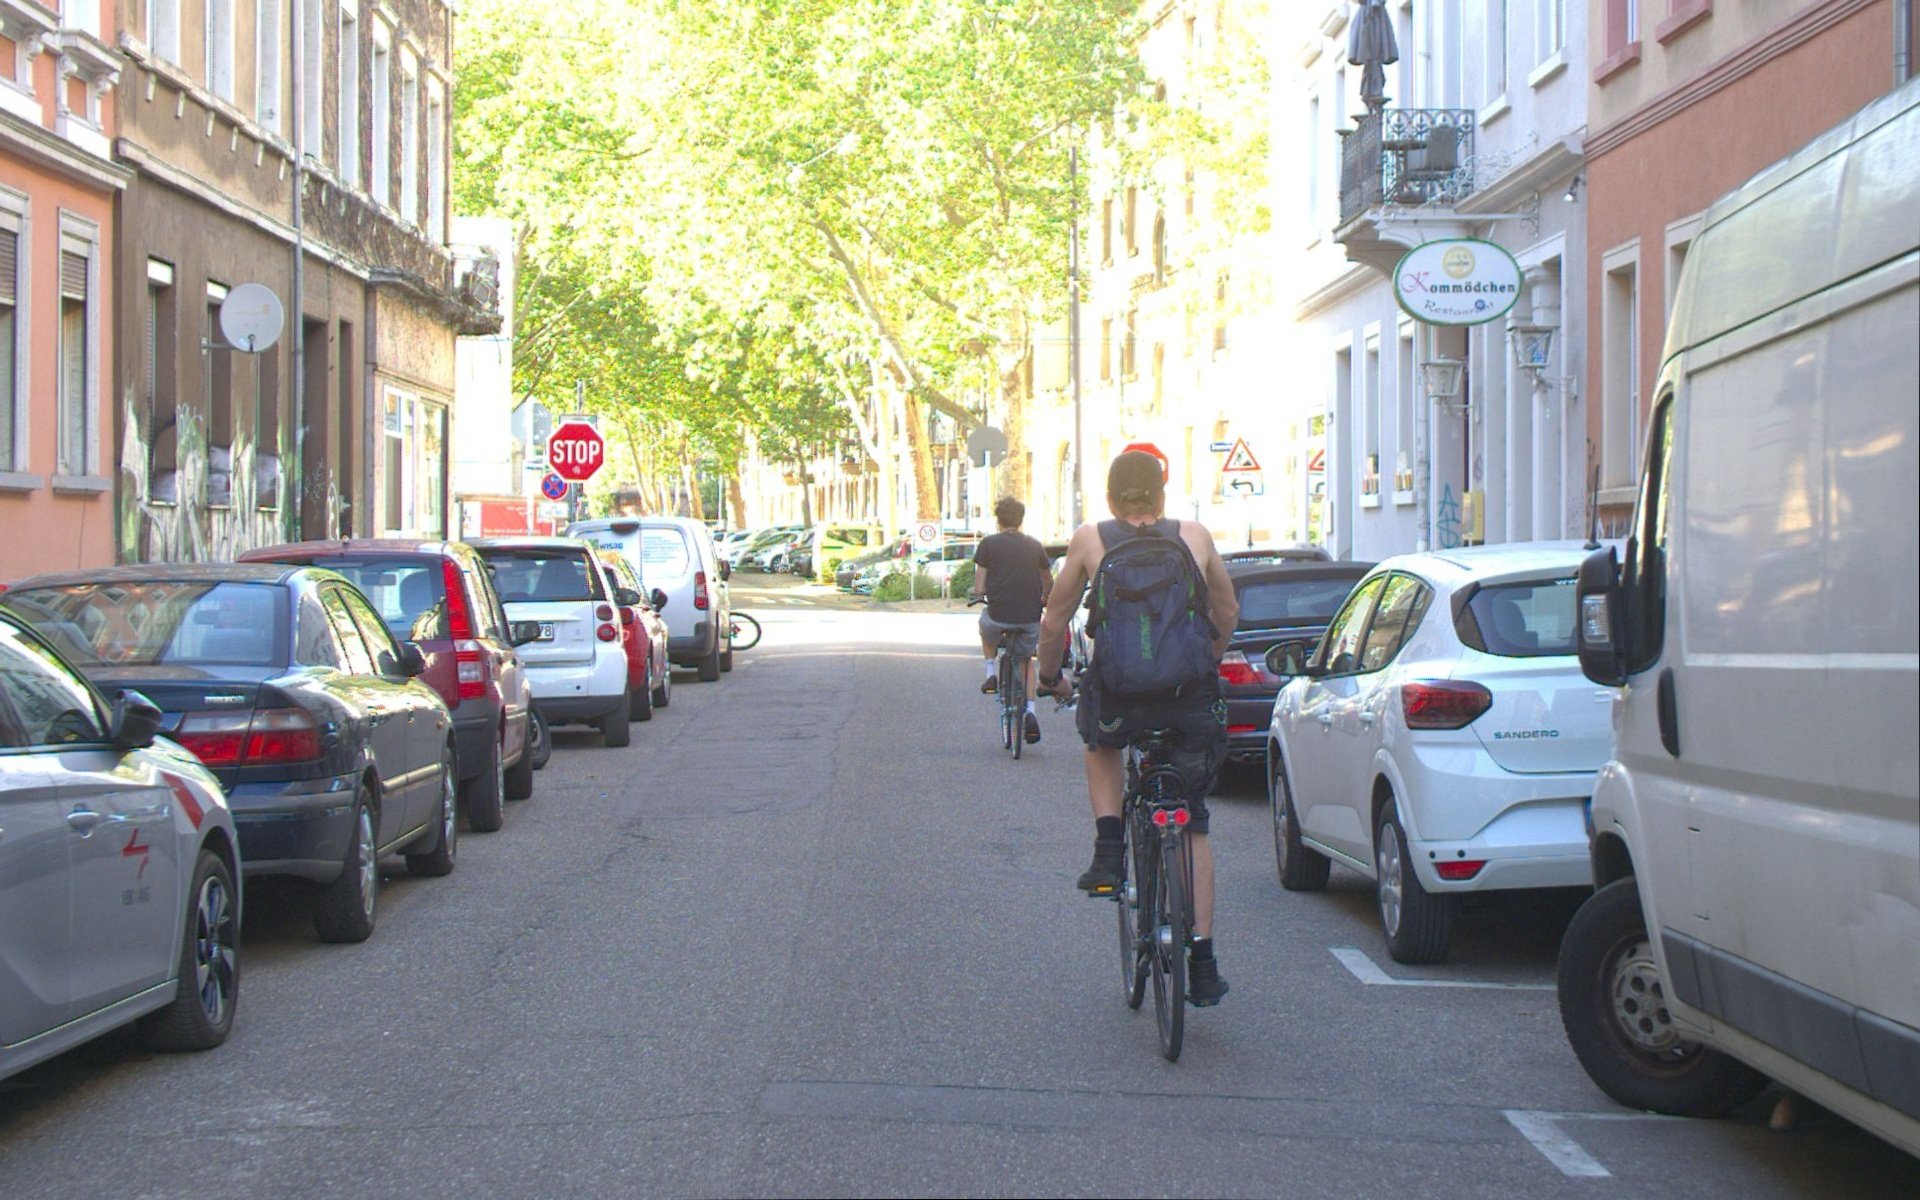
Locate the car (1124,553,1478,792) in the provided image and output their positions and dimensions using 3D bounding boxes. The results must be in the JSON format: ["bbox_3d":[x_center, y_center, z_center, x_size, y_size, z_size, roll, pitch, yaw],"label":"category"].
[{"bbox_3d":[2.058,0.390,21.770,1.657,1.334,4.001,0,1,-3],"label":"car"}]

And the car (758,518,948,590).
[{"bbox_3d":[-2.590,-1.110,82.878,4.468,1.690,1.867,0,1,-5],"label":"car"}]

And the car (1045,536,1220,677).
[{"bbox_3d":[1.930,0.039,39.313,1.652,1.525,3.575,0,1,-3],"label":"car"}]

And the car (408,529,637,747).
[{"bbox_3d":[-3.289,0.234,26.317,1.544,1.545,3.466,0,1,-4],"label":"car"}]

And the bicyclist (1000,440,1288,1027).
[{"bbox_3d":[0.538,0.377,10.481,0.740,1.673,1.117,2,1,-1],"label":"bicyclist"}]

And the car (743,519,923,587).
[{"bbox_3d":[-3.246,-1.203,87.365,4.468,1.690,1.867,0,1,-5],"label":"car"}]

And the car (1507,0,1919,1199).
[{"bbox_3d":[2.721,0.126,7.436,2.204,2.542,6.036,0,1,1],"label":"car"}]

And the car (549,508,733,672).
[{"bbox_3d":[-3.522,-0.144,38.514,1.787,1.731,3.876,0,1,-1],"label":"car"}]

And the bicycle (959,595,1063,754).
[{"bbox_3d":[0.344,0.501,24.142,0.664,1.034,1.959,0,1,-1],"label":"bicycle"}]

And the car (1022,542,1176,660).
[{"bbox_3d":[1.780,-0.019,44.887,1.686,1.466,3.575,0,1,-3],"label":"car"}]

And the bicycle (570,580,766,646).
[{"bbox_3d":[-4.081,0.179,48.118,2.715,0.889,0.619,0,1,-3],"label":"bicycle"}]

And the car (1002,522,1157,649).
[{"bbox_3d":[1.699,-0.245,50.215,1.893,1.763,4.001,0,1,-3],"label":"car"}]

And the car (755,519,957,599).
[{"bbox_3d":[-2.385,-0.936,77.893,4.468,1.753,1.867,0,1,-5],"label":"car"}]

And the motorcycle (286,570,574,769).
[{"bbox_3d":[-3.482,0.440,22.566,1.795,1.251,0.710,-1,1,-15],"label":"motorcycle"}]

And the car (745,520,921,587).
[{"bbox_3d":[-3.333,-1.214,89.673,4.468,1.690,1.867,0,1,-5],"label":"car"}]

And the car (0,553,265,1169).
[{"bbox_3d":[-3.075,0.608,8.926,1.674,1.425,3.888,0,1,1],"label":"car"}]

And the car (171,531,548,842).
[{"bbox_3d":[-3.216,0.398,18.943,1.604,1.525,3.379,-1,1,-3],"label":"car"}]

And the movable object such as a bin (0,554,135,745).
[{"bbox_3d":[-5.724,0.310,21.543,0.834,1.122,0.716,-5,1,1],"label":"movable object such as a bin"}]

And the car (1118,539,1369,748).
[{"bbox_3d":[2.136,0.278,26.750,1.592,1.487,3.876,0,1,-1],"label":"car"}]

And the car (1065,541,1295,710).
[{"bbox_3d":[1.994,0.189,32.206,1.710,1.465,4.001,0,1,-3],"label":"car"}]

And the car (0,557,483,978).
[{"bbox_3d":[-3.059,0.551,13.986,1.706,1.409,4.302,0,1,-1],"label":"car"}]

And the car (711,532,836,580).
[{"bbox_3d":[-6.813,-1.619,125.505,4.468,1.690,1.867,0,1,-5],"label":"car"}]

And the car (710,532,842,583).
[{"bbox_3d":[-6.378,-1.479,118.805,4.468,1.690,1.867,0,1,-5],"label":"car"}]

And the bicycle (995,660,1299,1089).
[{"bbox_3d":[0.530,0.780,10.565,0.740,1.097,2.042,2,1,-1],"label":"bicycle"}]

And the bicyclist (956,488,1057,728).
[{"bbox_3d":[0.321,0.049,24.142,0.669,1.653,0.877,0,1,-1],"label":"bicyclist"}]

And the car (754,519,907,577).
[{"bbox_3d":[-3.888,-1.559,102.807,4.468,1.690,1.867,0,1,-5],"label":"car"}]

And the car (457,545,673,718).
[{"bbox_3d":[-3.401,0.226,30.081,1.552,1.395,3.668,0,1,-1],"label":"car"}]

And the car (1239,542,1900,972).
[{"bbox_3d":[2.288,0.511,13.954,1.731,1.465,4.022,0,1,-4],"label":"car"}]
